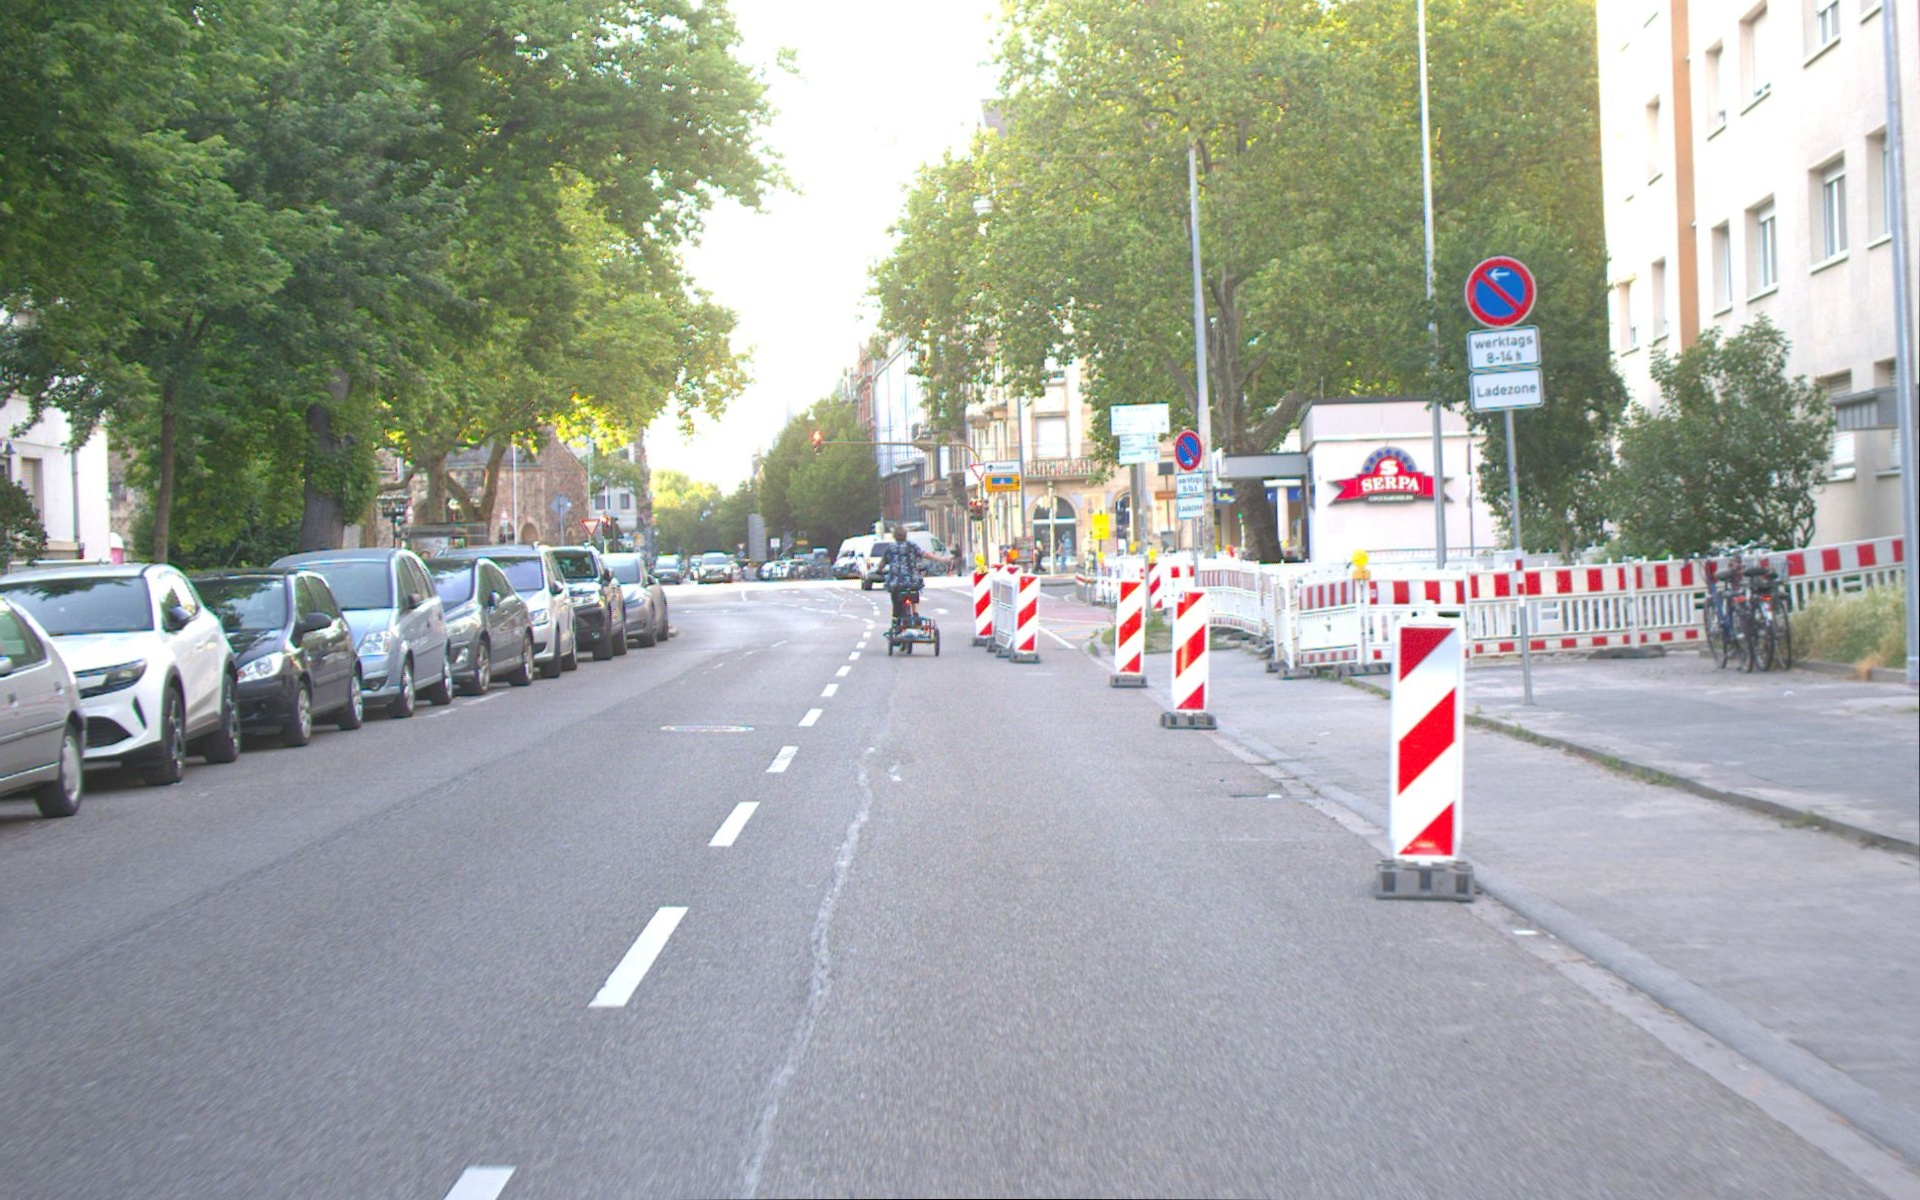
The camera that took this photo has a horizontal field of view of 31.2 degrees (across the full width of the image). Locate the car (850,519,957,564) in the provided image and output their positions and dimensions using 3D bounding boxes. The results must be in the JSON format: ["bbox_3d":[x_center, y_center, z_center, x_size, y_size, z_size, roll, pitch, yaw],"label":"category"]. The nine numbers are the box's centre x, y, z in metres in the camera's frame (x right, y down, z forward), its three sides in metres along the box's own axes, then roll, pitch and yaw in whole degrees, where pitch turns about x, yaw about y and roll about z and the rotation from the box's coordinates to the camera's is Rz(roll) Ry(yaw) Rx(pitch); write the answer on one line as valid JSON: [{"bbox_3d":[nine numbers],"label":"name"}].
[{"bbox_3d":[-3.020,-3.164,185.040,5.807,2.280,2.071,-2,1,-43],"label":"car"}]

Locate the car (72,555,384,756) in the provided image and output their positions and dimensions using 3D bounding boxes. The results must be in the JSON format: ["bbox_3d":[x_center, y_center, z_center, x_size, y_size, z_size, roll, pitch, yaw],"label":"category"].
[{"bbox_3d":[-6.084,0.414,28.982,1.707,1.447,3.843,-5,1,0],"label":"car"}]

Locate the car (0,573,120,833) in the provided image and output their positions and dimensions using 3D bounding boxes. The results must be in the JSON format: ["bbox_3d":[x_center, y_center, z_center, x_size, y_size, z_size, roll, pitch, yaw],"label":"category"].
[{"bbox_3d":[-6.069,0.622,19.327,1.590,1.399,4.181,-5,1,0],"label":"car"}]

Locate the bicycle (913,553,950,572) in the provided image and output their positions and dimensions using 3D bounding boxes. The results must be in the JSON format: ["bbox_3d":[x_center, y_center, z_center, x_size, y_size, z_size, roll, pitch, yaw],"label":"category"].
[{"bbox_3d":[-1.474,-1.940,178.822,1.914,0.965,0.546,-2,1,-2],"label":"bicycle"}]

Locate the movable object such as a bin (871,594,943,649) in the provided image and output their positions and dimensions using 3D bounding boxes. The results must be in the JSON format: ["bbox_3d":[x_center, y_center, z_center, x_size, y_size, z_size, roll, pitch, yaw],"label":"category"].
[{"bbox_3d":[-0.755,0.297,48.422,0.939,0.686,0.993,-4,0,-2],"label":"movable object such as a bin"}]

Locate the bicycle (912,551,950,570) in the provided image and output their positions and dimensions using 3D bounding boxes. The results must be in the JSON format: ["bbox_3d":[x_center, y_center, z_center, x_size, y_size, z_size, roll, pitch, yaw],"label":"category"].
[{"bbox_3d":[-1.502,-2.052,178.600,1.914,0.965,0.546,-2,1,-2],"label":"bicycle"}]

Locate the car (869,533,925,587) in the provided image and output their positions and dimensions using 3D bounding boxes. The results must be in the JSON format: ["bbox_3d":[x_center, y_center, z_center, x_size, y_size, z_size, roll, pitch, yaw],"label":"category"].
[{"bbox_3d":[-2.283,-1.423,122.861,1.866,1.808,4.000,-2,1,-2],"label":"car"}]

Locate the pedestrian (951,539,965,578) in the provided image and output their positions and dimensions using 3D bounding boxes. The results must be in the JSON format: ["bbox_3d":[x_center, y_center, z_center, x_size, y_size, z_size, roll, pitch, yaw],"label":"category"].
[{"bbox_3d":[-0.095,-1.987,165.566,0.593,1.880,0.585,-1,1,3],"label":"pedestrian"}]

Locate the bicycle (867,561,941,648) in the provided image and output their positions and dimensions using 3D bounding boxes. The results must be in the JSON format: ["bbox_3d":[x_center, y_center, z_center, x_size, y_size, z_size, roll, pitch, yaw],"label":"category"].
[{"bbox_3d":[-0.832,0.054,50.092,0.939,1.168,2.359,-4,0,-2],"label":"bicycle"}]

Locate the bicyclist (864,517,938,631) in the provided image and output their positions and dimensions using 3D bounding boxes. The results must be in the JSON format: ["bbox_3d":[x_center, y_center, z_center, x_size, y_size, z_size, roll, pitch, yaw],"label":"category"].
[{"bbox_3d":[-0.865,-0.381,50.108,0.939,1.576,1.146,-4,0,-2],"label":"bicyclist"}]

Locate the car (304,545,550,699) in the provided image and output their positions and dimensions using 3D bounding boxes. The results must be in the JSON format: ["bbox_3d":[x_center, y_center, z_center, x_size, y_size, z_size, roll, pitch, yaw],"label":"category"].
[{"bbox_3d":[-5.844,0.199,38.203,1.733,1.492,4.270,-3,1,4],"label":"car"}]

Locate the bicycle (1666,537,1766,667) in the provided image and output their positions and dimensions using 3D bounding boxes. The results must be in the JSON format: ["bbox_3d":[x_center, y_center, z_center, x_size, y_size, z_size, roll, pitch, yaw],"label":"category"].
[{"bbox_3d":[7.331,0.006,33.407,0.451,1.217,1.911,-1,1,-2],"label":"bicycle"}]

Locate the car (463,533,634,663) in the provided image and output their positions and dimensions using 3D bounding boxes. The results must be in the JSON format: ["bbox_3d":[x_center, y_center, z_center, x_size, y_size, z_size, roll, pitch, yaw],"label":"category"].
[{"bbox_3d":[-6.031,-0.060,50.917,1.953,1.713,4.771,-3,1,-1],"label":"car"}]

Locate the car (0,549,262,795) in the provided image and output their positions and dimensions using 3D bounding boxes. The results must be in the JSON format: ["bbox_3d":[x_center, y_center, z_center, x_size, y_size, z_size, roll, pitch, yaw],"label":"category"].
[{"bbox_3d":[-6.174,0.469,24.587,1.590,1.533,4.207,-5,1,-3],"label":"car"}]

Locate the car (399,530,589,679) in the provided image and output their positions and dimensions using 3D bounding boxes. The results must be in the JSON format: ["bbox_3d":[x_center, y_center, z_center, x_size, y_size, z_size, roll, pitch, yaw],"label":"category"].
[{"bbox_3d":[-5.852,0.022,43.663,1.846,1.685,4.860,-3,1,-2],"label":"car"}]

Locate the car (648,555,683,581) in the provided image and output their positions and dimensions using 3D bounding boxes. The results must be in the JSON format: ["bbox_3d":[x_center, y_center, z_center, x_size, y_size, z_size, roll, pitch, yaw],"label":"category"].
[{"bbox_3d":[-18.774,-2.062,219.103,1.993,1.645,3.822,0,1,-8],"label":"car"}]

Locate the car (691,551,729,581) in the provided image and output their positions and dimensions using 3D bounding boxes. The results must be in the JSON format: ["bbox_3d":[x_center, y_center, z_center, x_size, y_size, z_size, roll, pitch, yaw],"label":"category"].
[{"bbox_3d":[-13.789,-1.876,189.507,1.781,1.645,3.822,0,1,-8],"label":"car"}]

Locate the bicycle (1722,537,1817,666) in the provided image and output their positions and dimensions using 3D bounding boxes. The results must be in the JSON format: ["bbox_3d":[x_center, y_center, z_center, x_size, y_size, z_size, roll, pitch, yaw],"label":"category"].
[{"bbox_3d":[7.856,0.003,33.431,0.398,1.217,1.826,-1,1,-2],"label":"bicycle"}]

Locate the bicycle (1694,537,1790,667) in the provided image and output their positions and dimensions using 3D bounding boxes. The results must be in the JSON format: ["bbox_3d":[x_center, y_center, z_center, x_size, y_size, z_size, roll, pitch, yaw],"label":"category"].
[{"bbox_3d":[7.605,0.004,33.498,0.398,1.217,1.911,-1,1,-2],"label":"bicycle"}]

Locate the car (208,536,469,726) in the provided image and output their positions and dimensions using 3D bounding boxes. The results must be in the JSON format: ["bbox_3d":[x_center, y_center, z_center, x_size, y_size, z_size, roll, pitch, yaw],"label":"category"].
[{"bbox_3d":[-5.958,0.254,33.398,1.707,1.595,4.117,-5,1,0],"label":"car"}]

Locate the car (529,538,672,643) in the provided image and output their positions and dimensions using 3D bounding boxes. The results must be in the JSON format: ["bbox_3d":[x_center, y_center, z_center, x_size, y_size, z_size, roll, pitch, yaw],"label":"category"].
[{"bbox_3d":[-6.097,-0.191,58.756,1.953,1.611,4.605,-3,1,-1],"label":"car"}]
